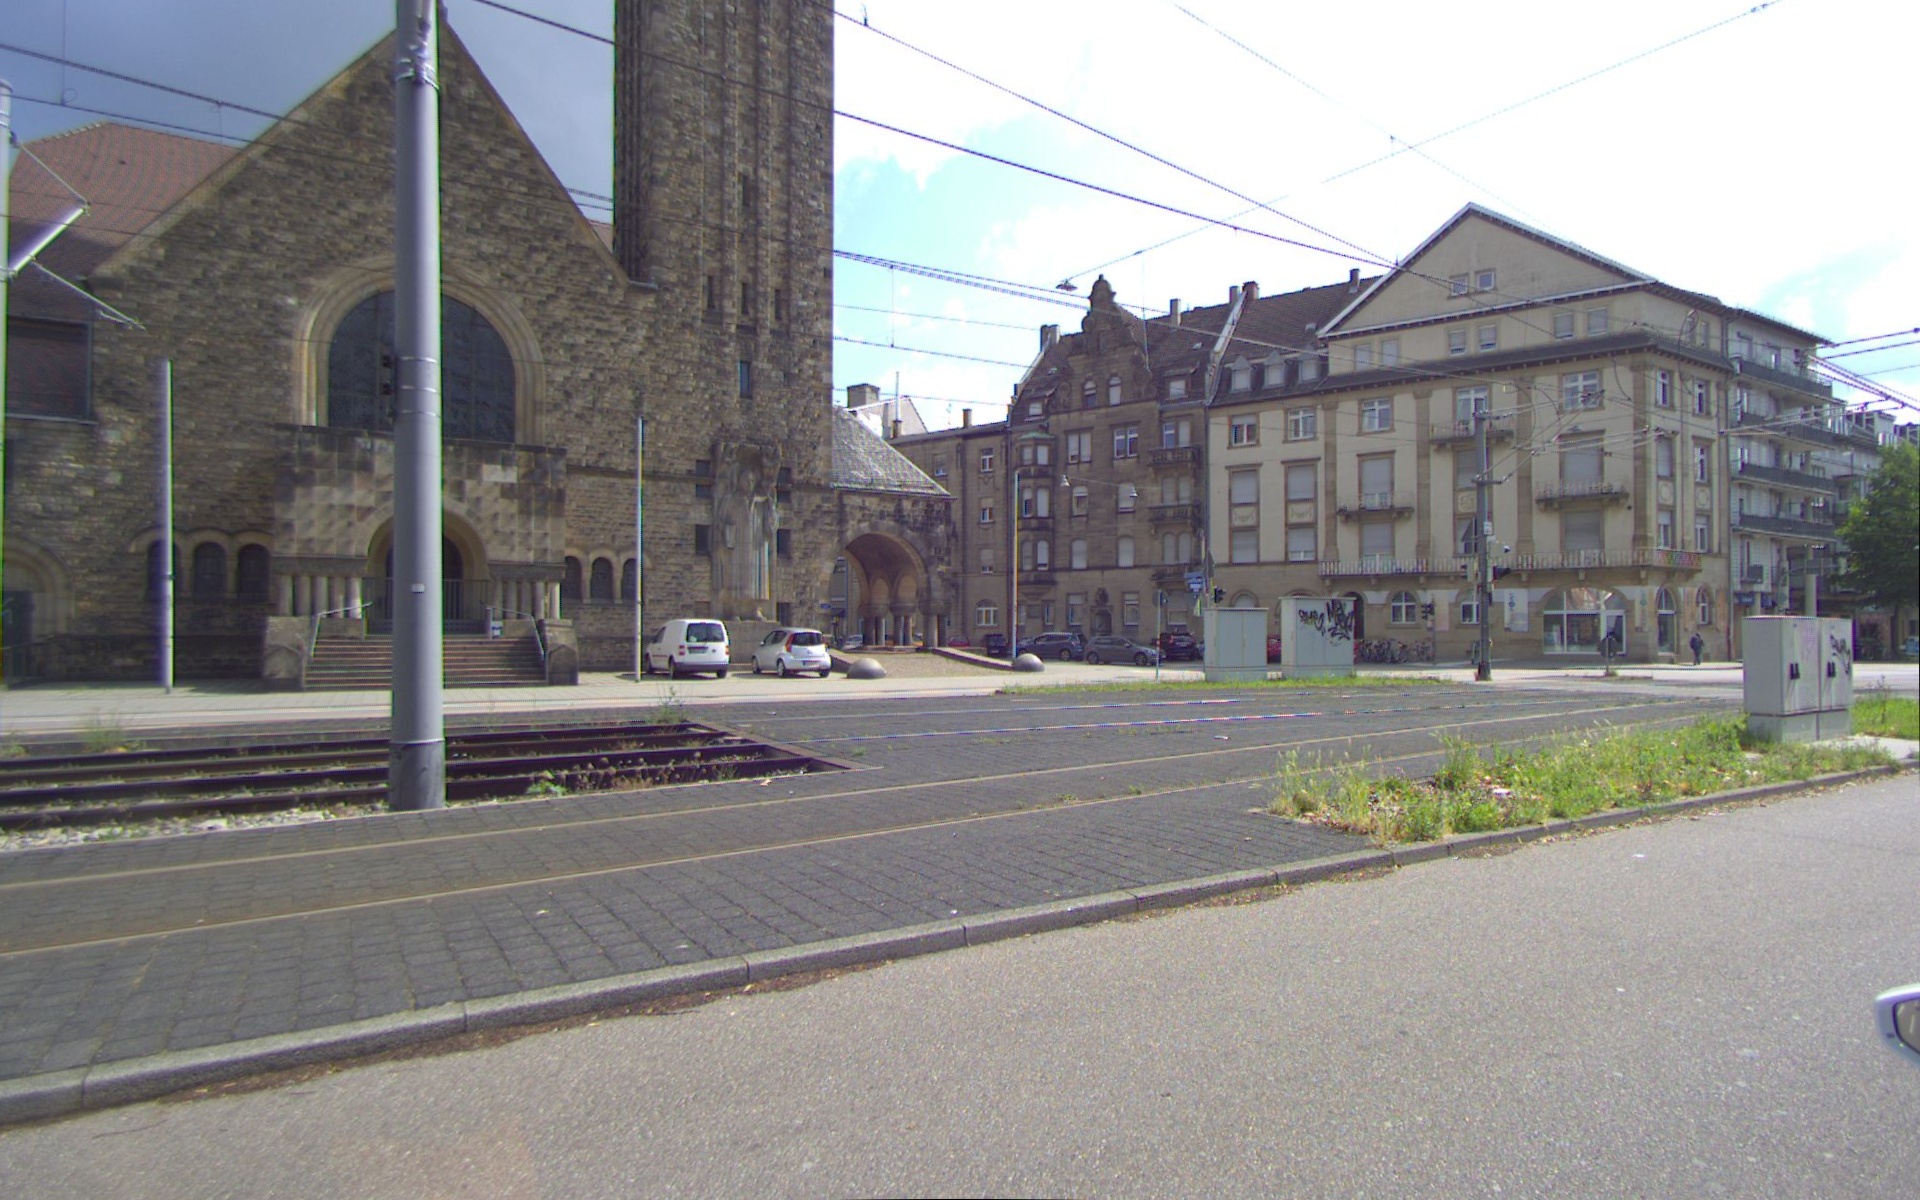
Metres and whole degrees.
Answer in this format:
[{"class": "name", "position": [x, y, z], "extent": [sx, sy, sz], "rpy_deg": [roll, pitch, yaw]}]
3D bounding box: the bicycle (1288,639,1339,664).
[{"class": "bicycle", "position": [19.106, 2.762, 54.420], "extent": [0.982, 1.270, 3.313], "rpy_deg": [0, -2, -13]}]

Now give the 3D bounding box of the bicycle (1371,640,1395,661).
[{"class": "bicycle", "position": [22.474, 2.657, 53.332], "extent": [0.792, 1.067, 2.561], "rpy_deg": [-1, -2, 30]}]

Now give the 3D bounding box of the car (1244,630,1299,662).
[{"class": "car", "position": [17.206, 2.507, 55.650], "extent": [1.960, 1.696, 4.002], "rpy_deg": [0, -2, 3]}]

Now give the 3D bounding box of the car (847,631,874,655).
[{"class": "car", "position": [-7.209, 3.120, 72.853], "extent": [1.707, 1.692, 4.039], "rpy_deg": [0, -2, -2]}]

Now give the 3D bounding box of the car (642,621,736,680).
[{"class": "car", "position": [-8.794, 1.596, 32.407], "extent": [1.874, 1.771, 3.848], "rpy_deg": [1, -2, -32]}]

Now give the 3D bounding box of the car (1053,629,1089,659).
[{"class": "car", "position": [6.932, 2.741, 62.969], "extent": [1.850, 1.782, 4.001], "rpy_deg": [0, -2, 0]}]

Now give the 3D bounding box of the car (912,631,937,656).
[{"class": "car", "position": [-2.486, 2.998, 69.635], "extent": [1.686, 1.706, 4.000], "rpy_deg": [0, -2, -2]}]

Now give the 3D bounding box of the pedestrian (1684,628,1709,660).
[{"class": "pedestrian", "position": [36.969, 2.214, 50.440], "extent": [0.851, 1.617, 0.689], "rpy_deg": [1, -2, -29]}]

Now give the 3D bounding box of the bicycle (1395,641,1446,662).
[{"class": "bicycle", "position": [23.947, 2.650, 52.249], "extent": [2.526, 1.067, 0.803], "rpy_deg": [1, -2, -18]}]

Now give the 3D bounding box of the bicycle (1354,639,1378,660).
[{"class": "bicycle", "position": [21.757, 2.655, 53.782], "extent": [0.792, 1.067, 2.561], "rpy_deg": [-1, -2, 30]}]

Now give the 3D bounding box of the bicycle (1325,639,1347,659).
[{"class": "bicycle", "position": [20.611, 2.661, 55.047], "extent": [0.729, 1.067, 2.360], "rpy_deg": [-1, -2, 30]}]

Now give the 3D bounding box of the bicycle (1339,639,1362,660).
[{"class": "bicycle", "position": [21.093, 2.654, 54.252], "extent": [0.729, 1.067, 2.561], "rpy_deg": [-1, -2, 30]}]

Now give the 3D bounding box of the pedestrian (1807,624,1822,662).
[{"class": "pedestrian", "position": [45.680, 2.306, 53.686], "extent": [0.415, 2.040, 0.474], "rpy_deg": [1, -2, -35]}]

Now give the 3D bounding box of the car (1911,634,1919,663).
[{"class": "car", "position": [69.746, 3.452, 71.452], "extent": [3.953, 2.040, 1.984], "rpy_deg": [1, -2, -30]}]

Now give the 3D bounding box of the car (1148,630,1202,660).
[{"class": "car", "position": [12.548, 2.617, 58.896], "extent": [1.962, 1.695, 3.998], "rpy_deg": [0, -2, -5]}]

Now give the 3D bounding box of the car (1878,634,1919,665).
[{"class": "car", "position": [65.533, 3.382, 69.426], "extent": [3.953, 2.040, 1.984], "rpy_deg": [1, -2, -30]}]

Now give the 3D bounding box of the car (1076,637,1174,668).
[{"class": "car", "position": [8.126, 2.565, 49.650], "extent": [4.497, 1.455, 1.700], "rpy_deg": [-1, -2, 37]}]

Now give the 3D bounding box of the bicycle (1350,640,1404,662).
[{"class": "bicycle", "position": [21.522, 2.621, 51.891], "extent": [2.522, 1.067, 0.680], "rpy_deg": [-1, -2, 33]}]

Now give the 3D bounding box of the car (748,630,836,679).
[{"class": "car", "position": [-5.634, 1.779, 33.394], "extent": [1.834, 1.522, 3.249], "rpy_deg": [1, -2, -31]}]

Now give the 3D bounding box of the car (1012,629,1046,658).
[{"class": "car", "position": [4.432, 2.791, 64.828], "extent": [1.960, 1.760, 4.001], "rpy_deg": [0, -2, 0]}]

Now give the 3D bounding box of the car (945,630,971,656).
[{"class": "car", "position": [-0.162, 2.910, 67.982], "extent": [1.617, 1.718, 3.859], "rpy_deg": [0, -2, -2]}]

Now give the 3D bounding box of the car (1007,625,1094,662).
[{"class": "car", "position": [5.261, 2.532, 58.709], "extent": [4.727, 2.040, 1.994], "rpy_deg": [-2, -2, 35]}]

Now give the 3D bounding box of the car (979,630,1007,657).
[{"class": "car", "position": [2.149, 2.863, 66.424], "extent": [1.753, 1.750, 4.001], "rpy_deg": [0, -2, 0]}]

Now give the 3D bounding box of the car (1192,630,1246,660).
[{"class": "car", "position": [14.839, 2.583, 57.702], "extent": [1.768, 1.661, 3.998], "rpy_deg": [0, -2, -5]}]

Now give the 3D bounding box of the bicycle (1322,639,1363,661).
[{"class": "bicycle", "position": [19.826, 2.600, 52.060], "extent": [1.939, 1.129, 0.487], "rpy_deg": [-1, -2, 24]}]
